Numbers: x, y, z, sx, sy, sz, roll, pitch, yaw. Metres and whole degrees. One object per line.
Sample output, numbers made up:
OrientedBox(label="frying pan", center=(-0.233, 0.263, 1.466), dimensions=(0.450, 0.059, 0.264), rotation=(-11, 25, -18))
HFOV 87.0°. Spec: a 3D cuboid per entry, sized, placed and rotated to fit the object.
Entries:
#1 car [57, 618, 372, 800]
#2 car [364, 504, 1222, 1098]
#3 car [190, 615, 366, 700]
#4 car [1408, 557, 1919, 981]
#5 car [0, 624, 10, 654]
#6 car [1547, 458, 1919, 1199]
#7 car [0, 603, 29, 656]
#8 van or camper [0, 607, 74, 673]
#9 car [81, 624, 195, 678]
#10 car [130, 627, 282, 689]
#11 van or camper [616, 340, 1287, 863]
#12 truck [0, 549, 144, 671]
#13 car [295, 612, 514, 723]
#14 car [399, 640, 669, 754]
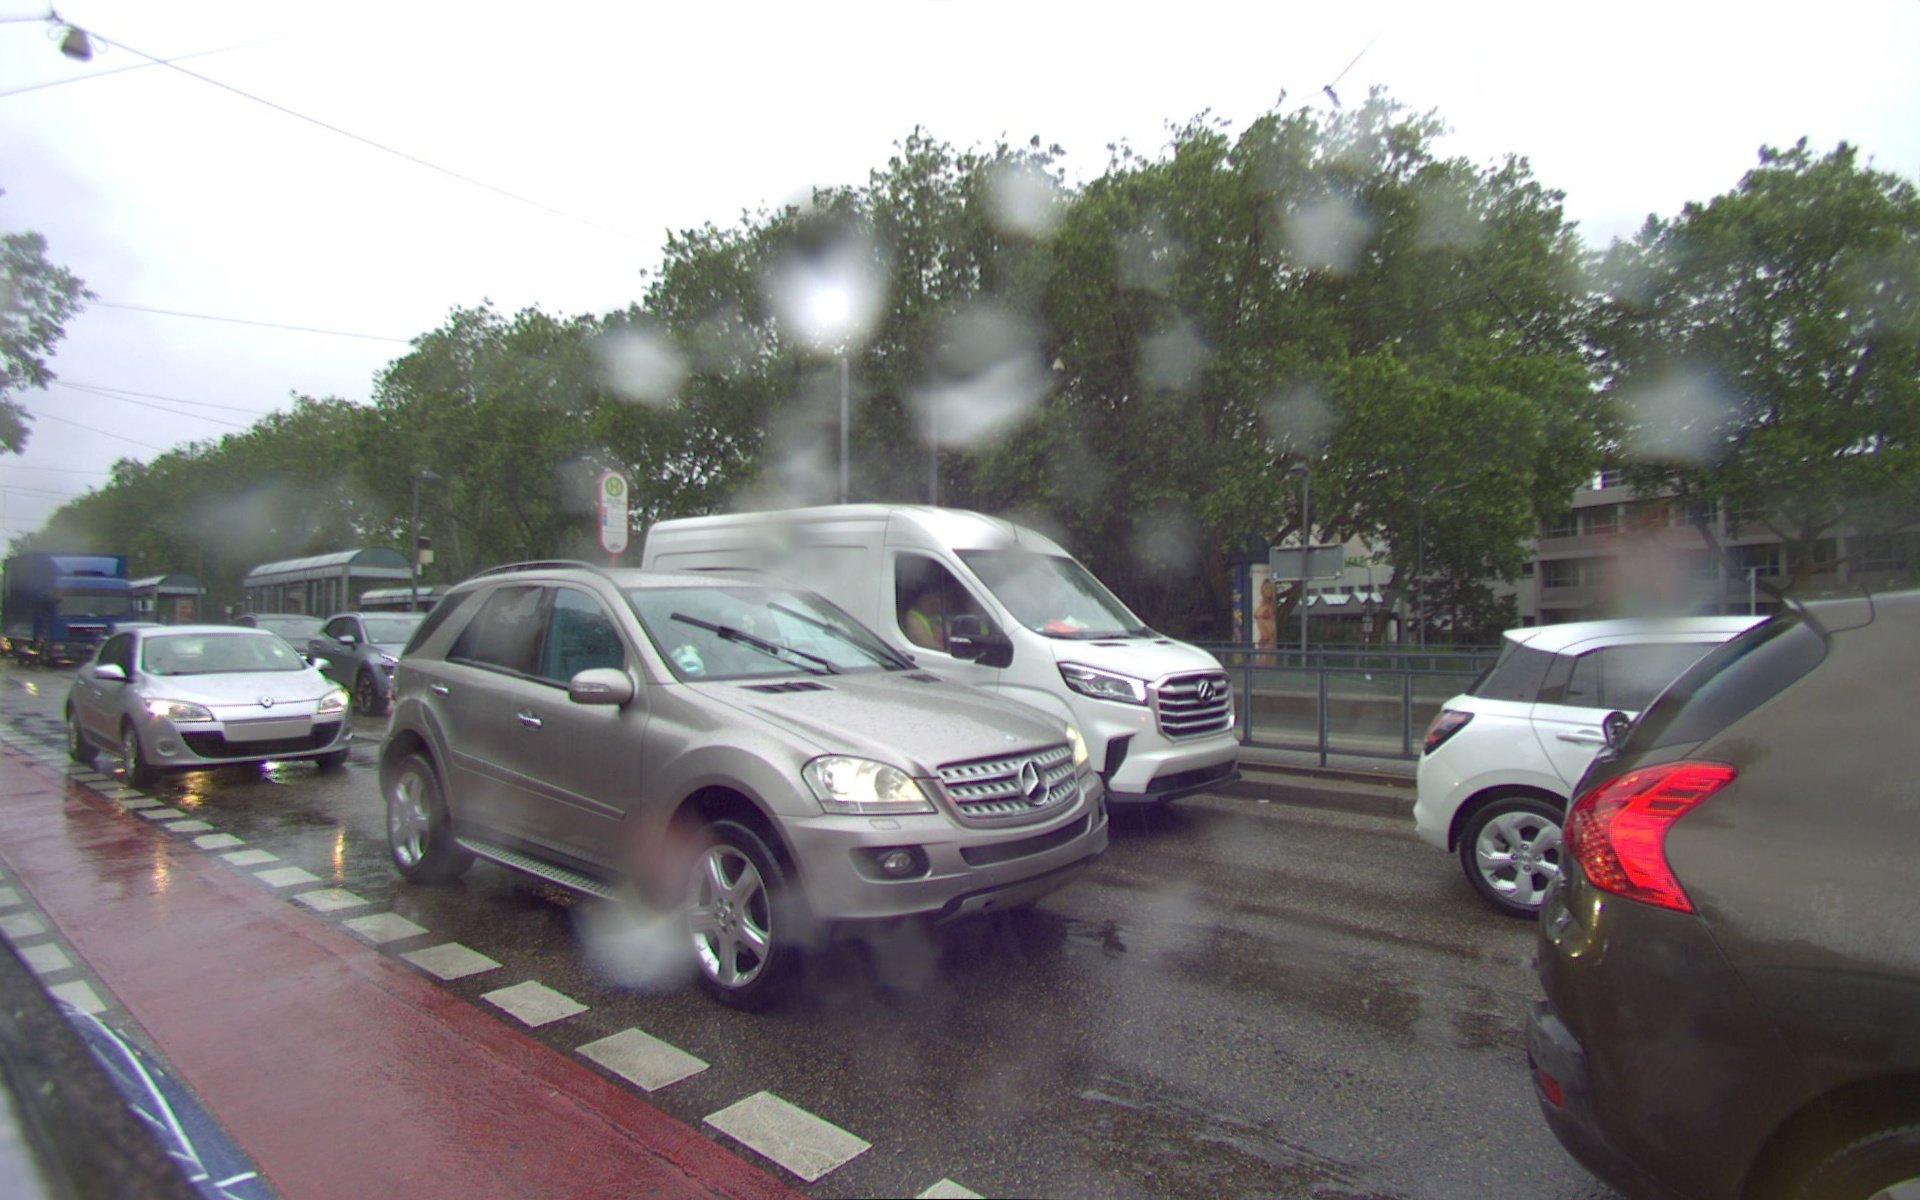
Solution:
OrientedBox(label="car", center=(-7.774, 0.951, 10.421), dimensions=(3.998, 1.489, 1.750), rotation=(-1, -1, 40))
OrientedBox(label="car", center=(-1.156, 0.637, 5.264), dimensions=(4.459, 1.783, 2.004), rotation=(-1, -1, 40))
OrientedBox(label="car", center=(-14.650, 1.163, 21.677), dimensions=(4.316, 1.633, 1.974), rotation=(-1, -2, 40))
OrientedBox(label="car", center=(4.270, 0.668, 4.536), dimensions=(3.834, 1.641, 1.628), rotation=(-1, -2, 41))
OrientedBox(label="car", center=(-52.357, 2.089, 54.064), dimensions=(3.998, 1.589, 1.973), rotation=(-1, -1, 41))
OrientedBox(label="car", center=(3.284, 0.594, 1.236), dimensions=(4.170, 1.681, 1.815), rotation=(-1, -1, 41))
OrientedBox(label="car", center=(-46.695, 1.412, 48.972), dimensions=(5.727, 2.445, 1.972), rotation=(-1, 0, 43))
OrientedBox(label="van or camper", center=(-40.043, 1.668, 43.544), dimensions=(6.427, 2.590, 1.973), rotation=(-1, 0, 41))
OrientedBox(label="car", center=(-24.534, 1.479, 30.165), dimensions=(4.074, 1.498, 1.871), rotation=(-1, -2, 40))
OrientedBox(label="car", center=(-18.832, 1.381, 25.202), dimensions=(4.602, 1.405, 1.973), rotation=(-1, -3, 40))
OrientedBox(label="van or camper", center=(-0.411, 0.070, 8.828), dimensions=(5.846, 3.166, 2.136), rotation=(-1, -2, 40))
OrientedBox(label="truck", center=(-32.239, 0.448, 36.352), dimensions=(9.803, 3.919, 2.513), rotation=(-1, -3, 40))
OrientedBox(label="car", center=(-9.480, 1.057, 17.114), dimensions=(4.454, 1.636, 1.894), rotation=(-1, -2, 43))
OrientedBox(label="car", center=(-5.451, 1.113, 12.710), dimensions=(4.084, 1.126, 1.448), rotation=(-1, -1, 40))
